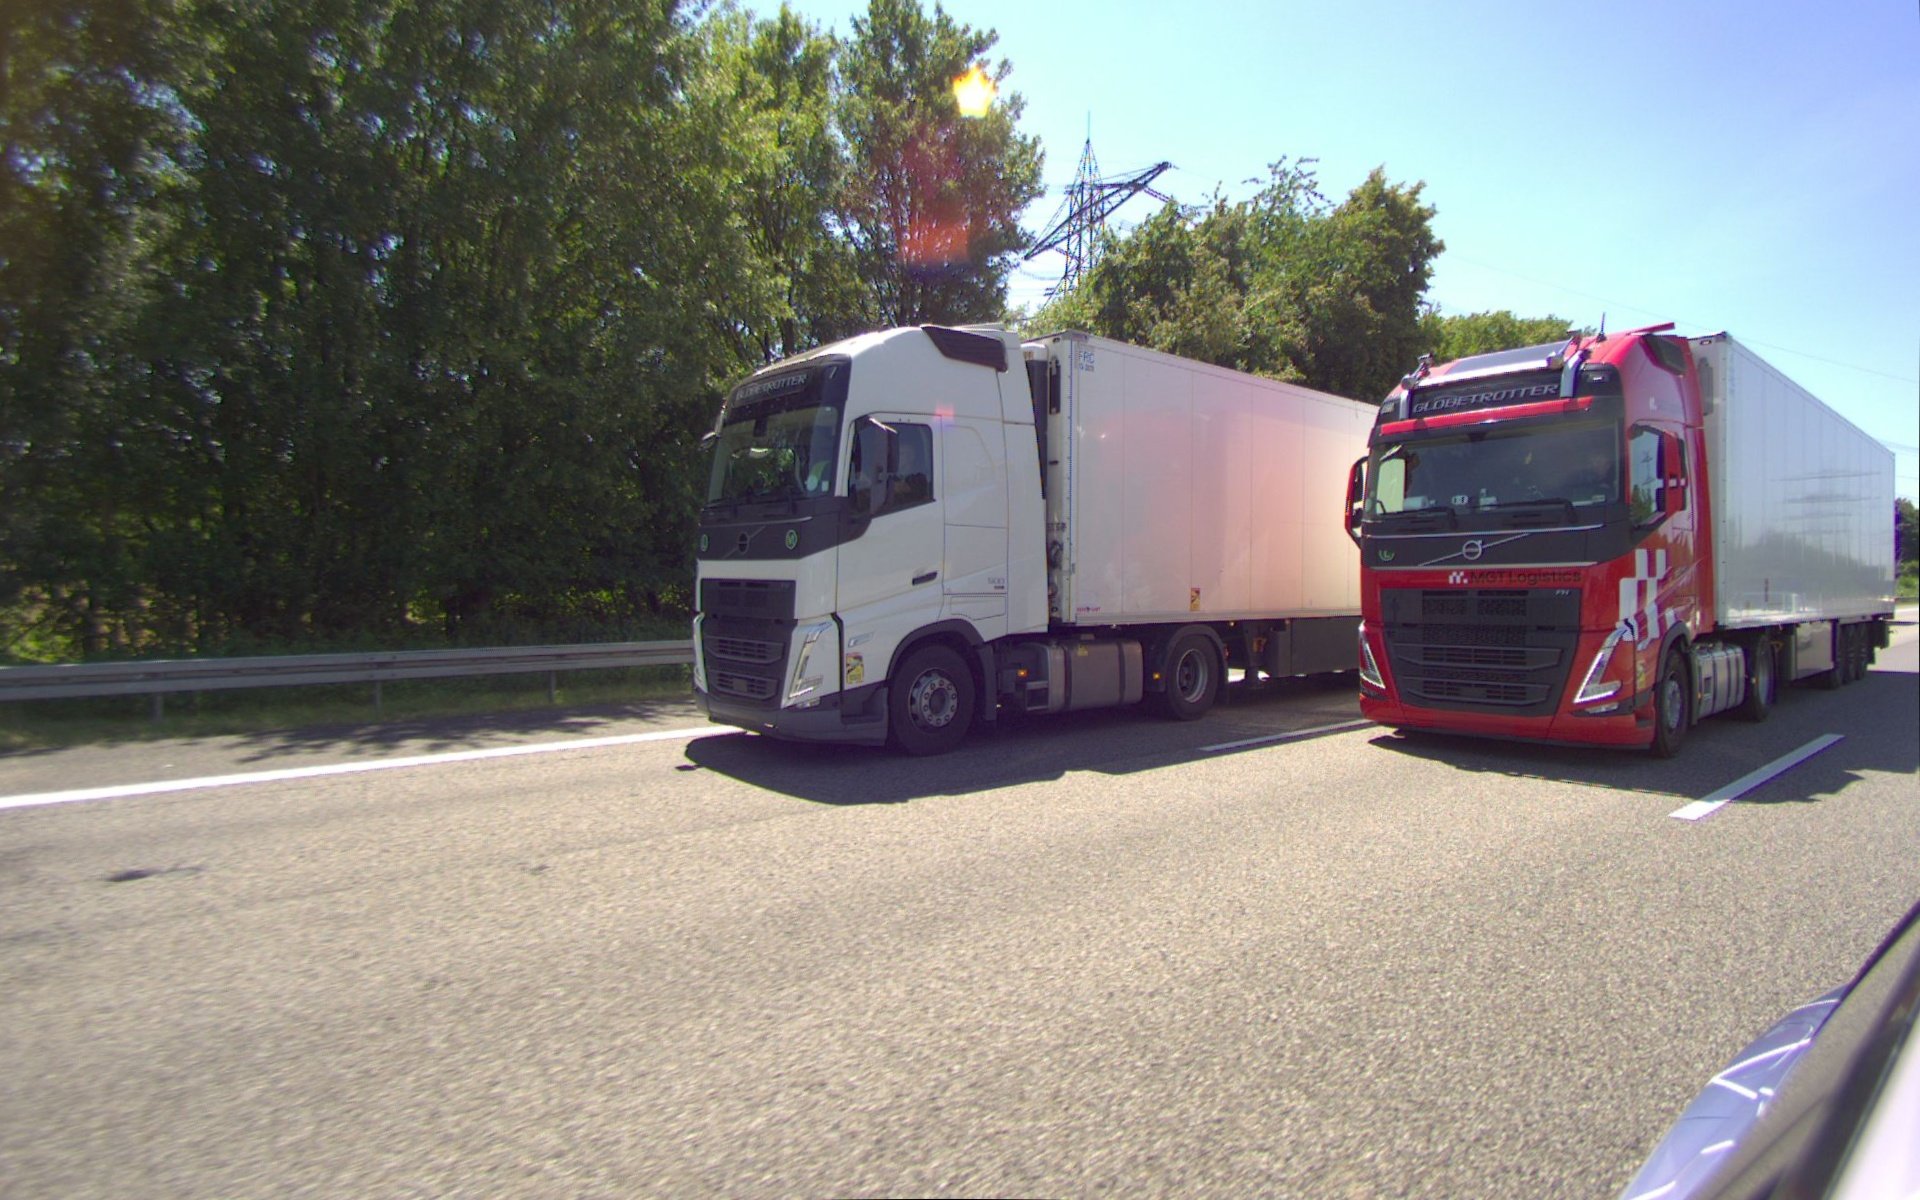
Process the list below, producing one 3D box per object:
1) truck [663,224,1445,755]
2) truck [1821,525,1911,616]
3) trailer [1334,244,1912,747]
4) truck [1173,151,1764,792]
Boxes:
[{"bbox_3d":[2.075,-0.952,12.572,10.785,4.144,3.031,-1,1,-40],"label":"truck"},{"bbox_3d":[41.548,-1.282,46.291,9.869,3.819,1.985,-1,1,-42],"label":"truck"},{"bbox_3d":[10.763,-0.972,14.599,15.921,4.068,2.942,-1,1,-42],"label":"trailer"},{"bbox_3d":[5.018,-0.861,9.480,5.996,4.036,2.945,-1,1,-42],"label":"truck"}]
